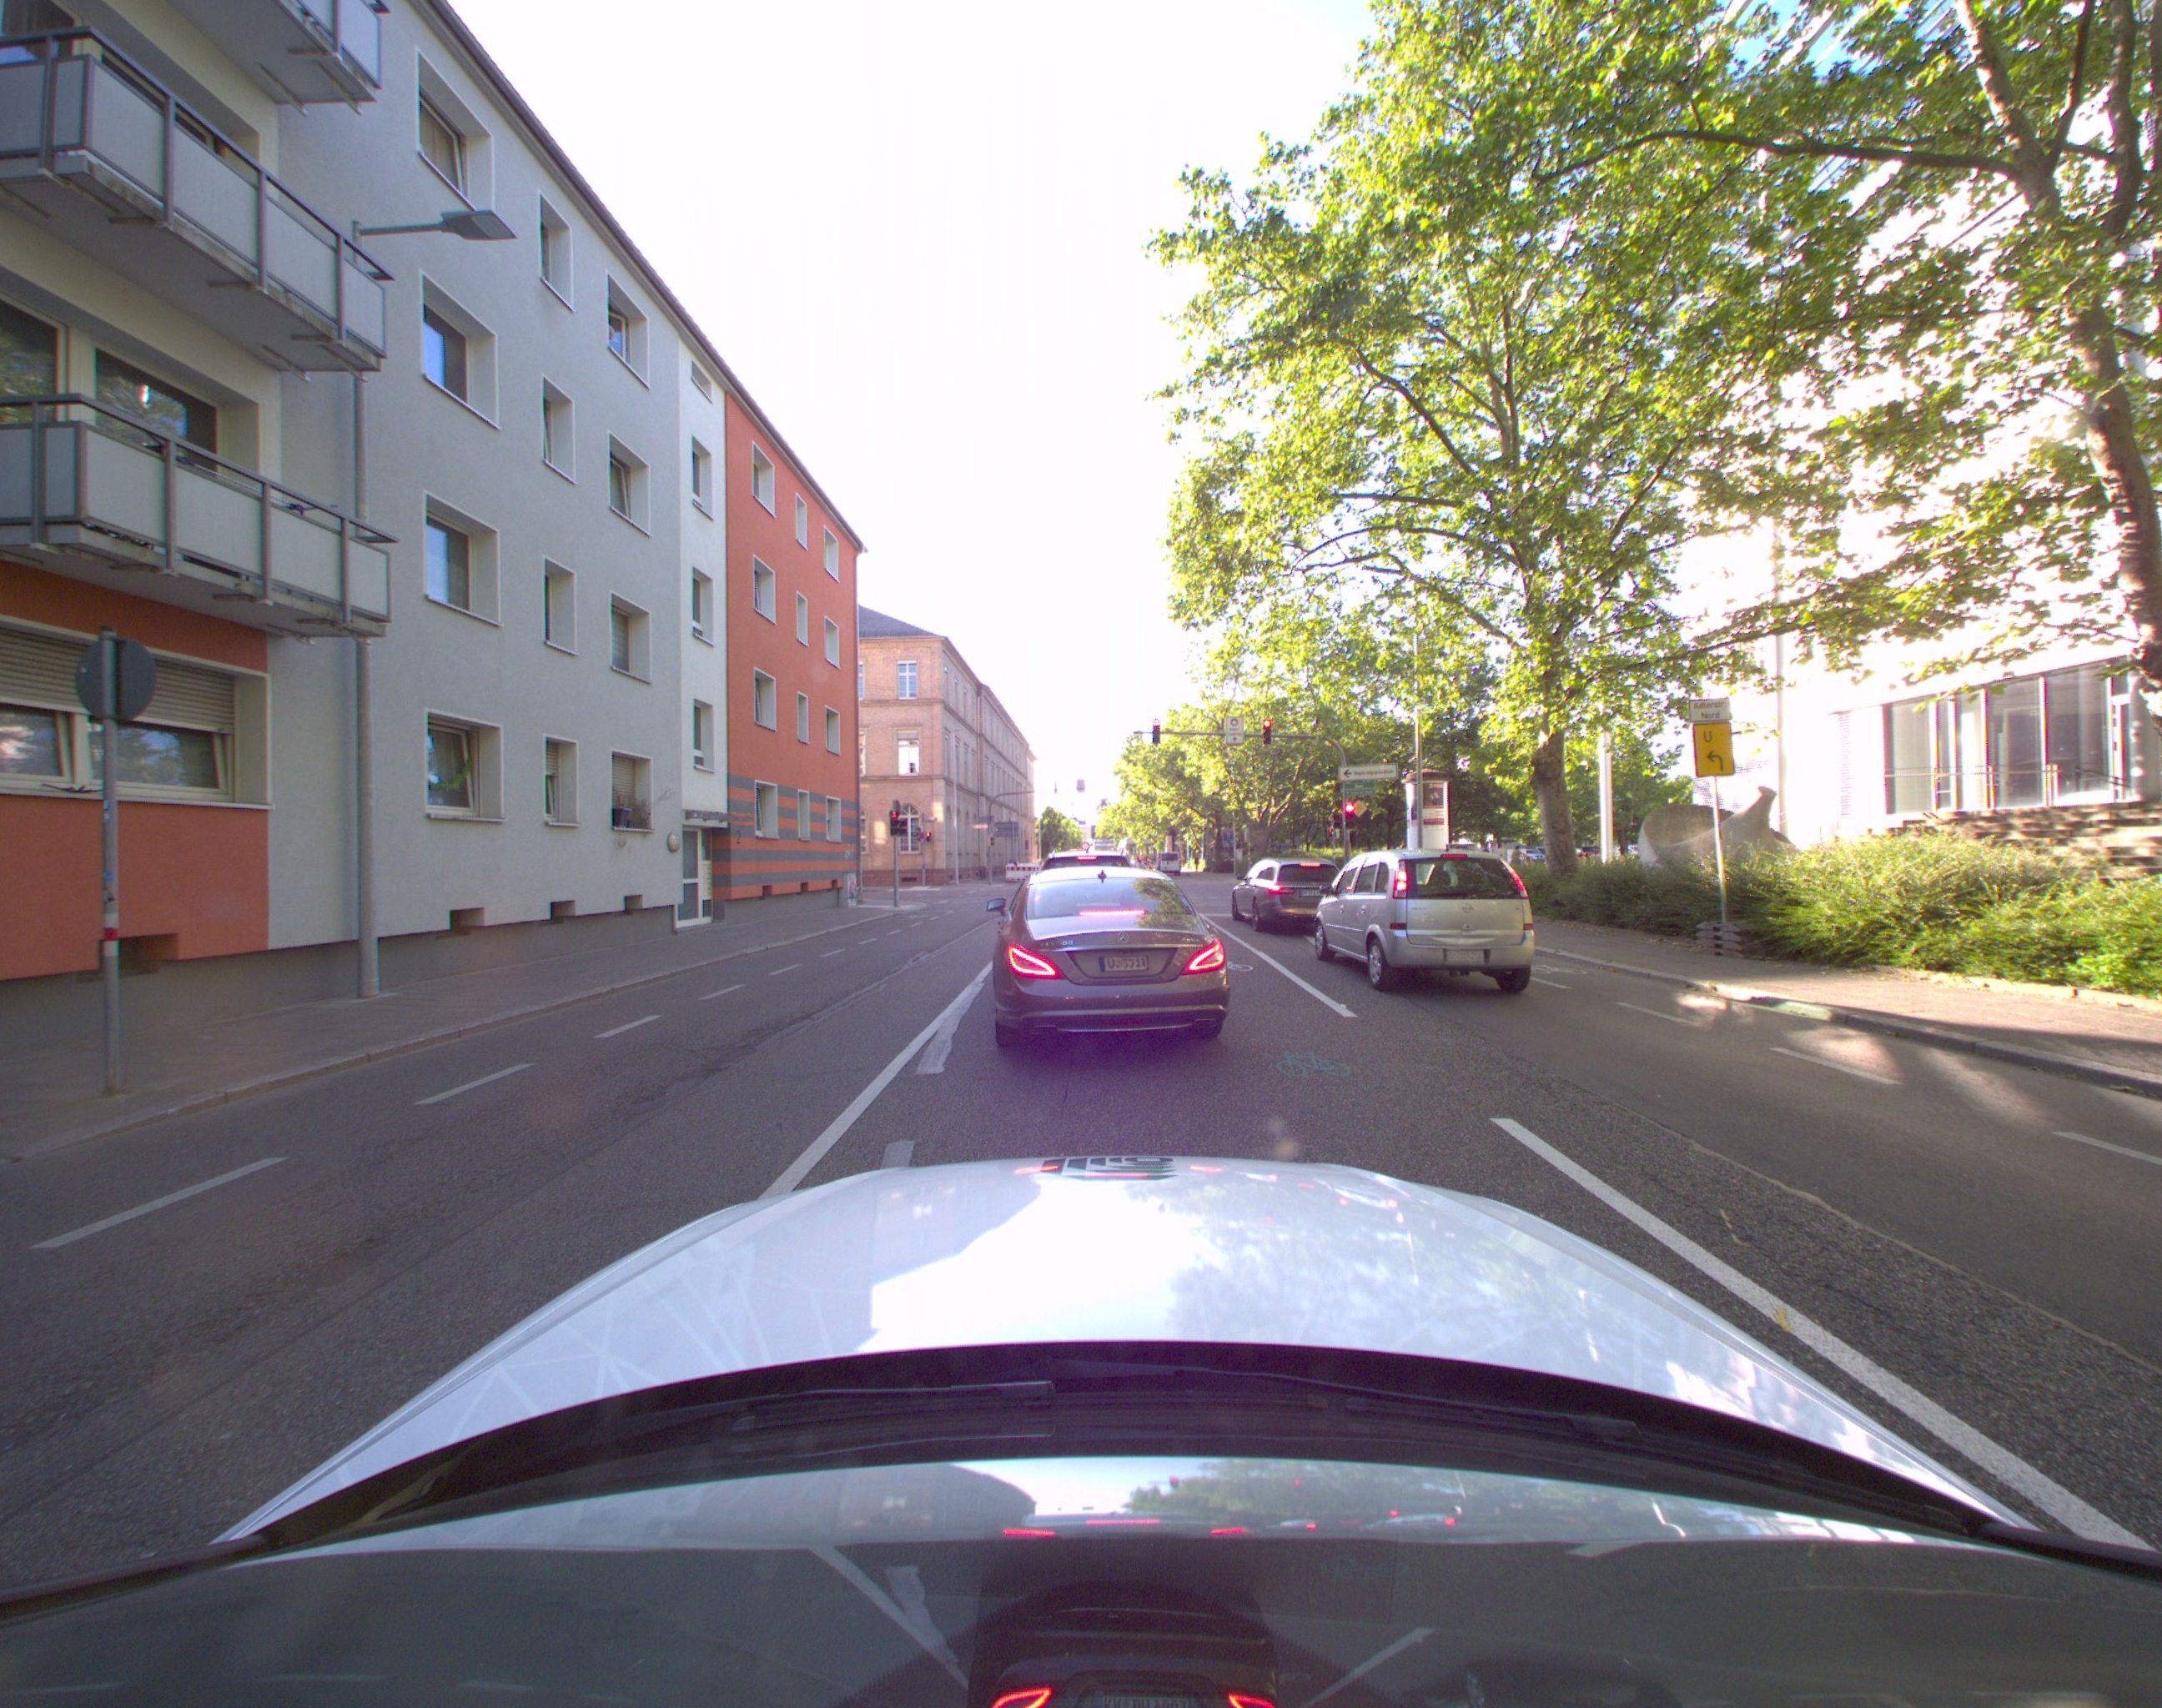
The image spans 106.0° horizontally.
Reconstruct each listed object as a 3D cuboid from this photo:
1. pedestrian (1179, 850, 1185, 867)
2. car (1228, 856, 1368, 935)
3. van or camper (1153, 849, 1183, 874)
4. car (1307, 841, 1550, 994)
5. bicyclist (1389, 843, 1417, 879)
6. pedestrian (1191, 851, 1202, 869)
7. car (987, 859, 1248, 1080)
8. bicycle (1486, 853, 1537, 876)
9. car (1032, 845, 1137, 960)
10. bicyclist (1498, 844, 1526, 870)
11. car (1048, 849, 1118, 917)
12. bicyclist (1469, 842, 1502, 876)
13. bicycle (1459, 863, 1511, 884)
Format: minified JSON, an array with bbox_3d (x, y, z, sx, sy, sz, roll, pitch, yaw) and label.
[{"bbox_3d":[11.309,0.491,91.198,0.601,1.821,0.652,-1,0,1],"label":"pedestrian"},{"bbox_3d":[4.448,0.776,17.480,1.905,1.464,4.671,0,0,2],"label":"car"},{"bbox_3d":[7.200,0.599,67.642,1.987,1.941,4.594,-1,0,0],"label":"van or camper"},{"bbox_3d":[4.186,0.674,10.506,1.694,1.603,3.863,-1,0,4],"label":"car"},{"bbox_3d":[14.782,0.307,37.402,1.013,1.642,0.607,-1,0,-4],"label":"bicyclist"},{"bbox_3d":[10.468,0.558,73.834,0.827,1.606,0.652,-1,0,1],"label":"pedestrian"},{"bbox_3d":[0.074,0.798,7.792,1.801,1.456,4.342,-1,0,-5],"label":"car"},{"bbox_3d":[20.044,0.492,37.934,1.972,1.027,0.652,-1,0,2],"label":"bicycle"},{"bbox_3d":[0.045,0.709,13.775,1.513,1.647,3.879,-1,0,0],"label":"car"},{"bbox_3d":[20.059,0.139,37.933,0.987,1.154,0.621,-1,0,3],"label":"bicyclist"},{"bbox_3d":[0.121,0.767,23.380,1.813,1.762,4.002,-1,0,2],"label":"car"},{"bbox_3d":[18.330,0.220,36.890,1.113,1.490,0.712,-1,0,1],"label":"bicyclist"},{"bbox_3d":[18.282,0.860,36.878,1.979,0.903,0.734,-1,0,0],"label":"bicycle"}]
